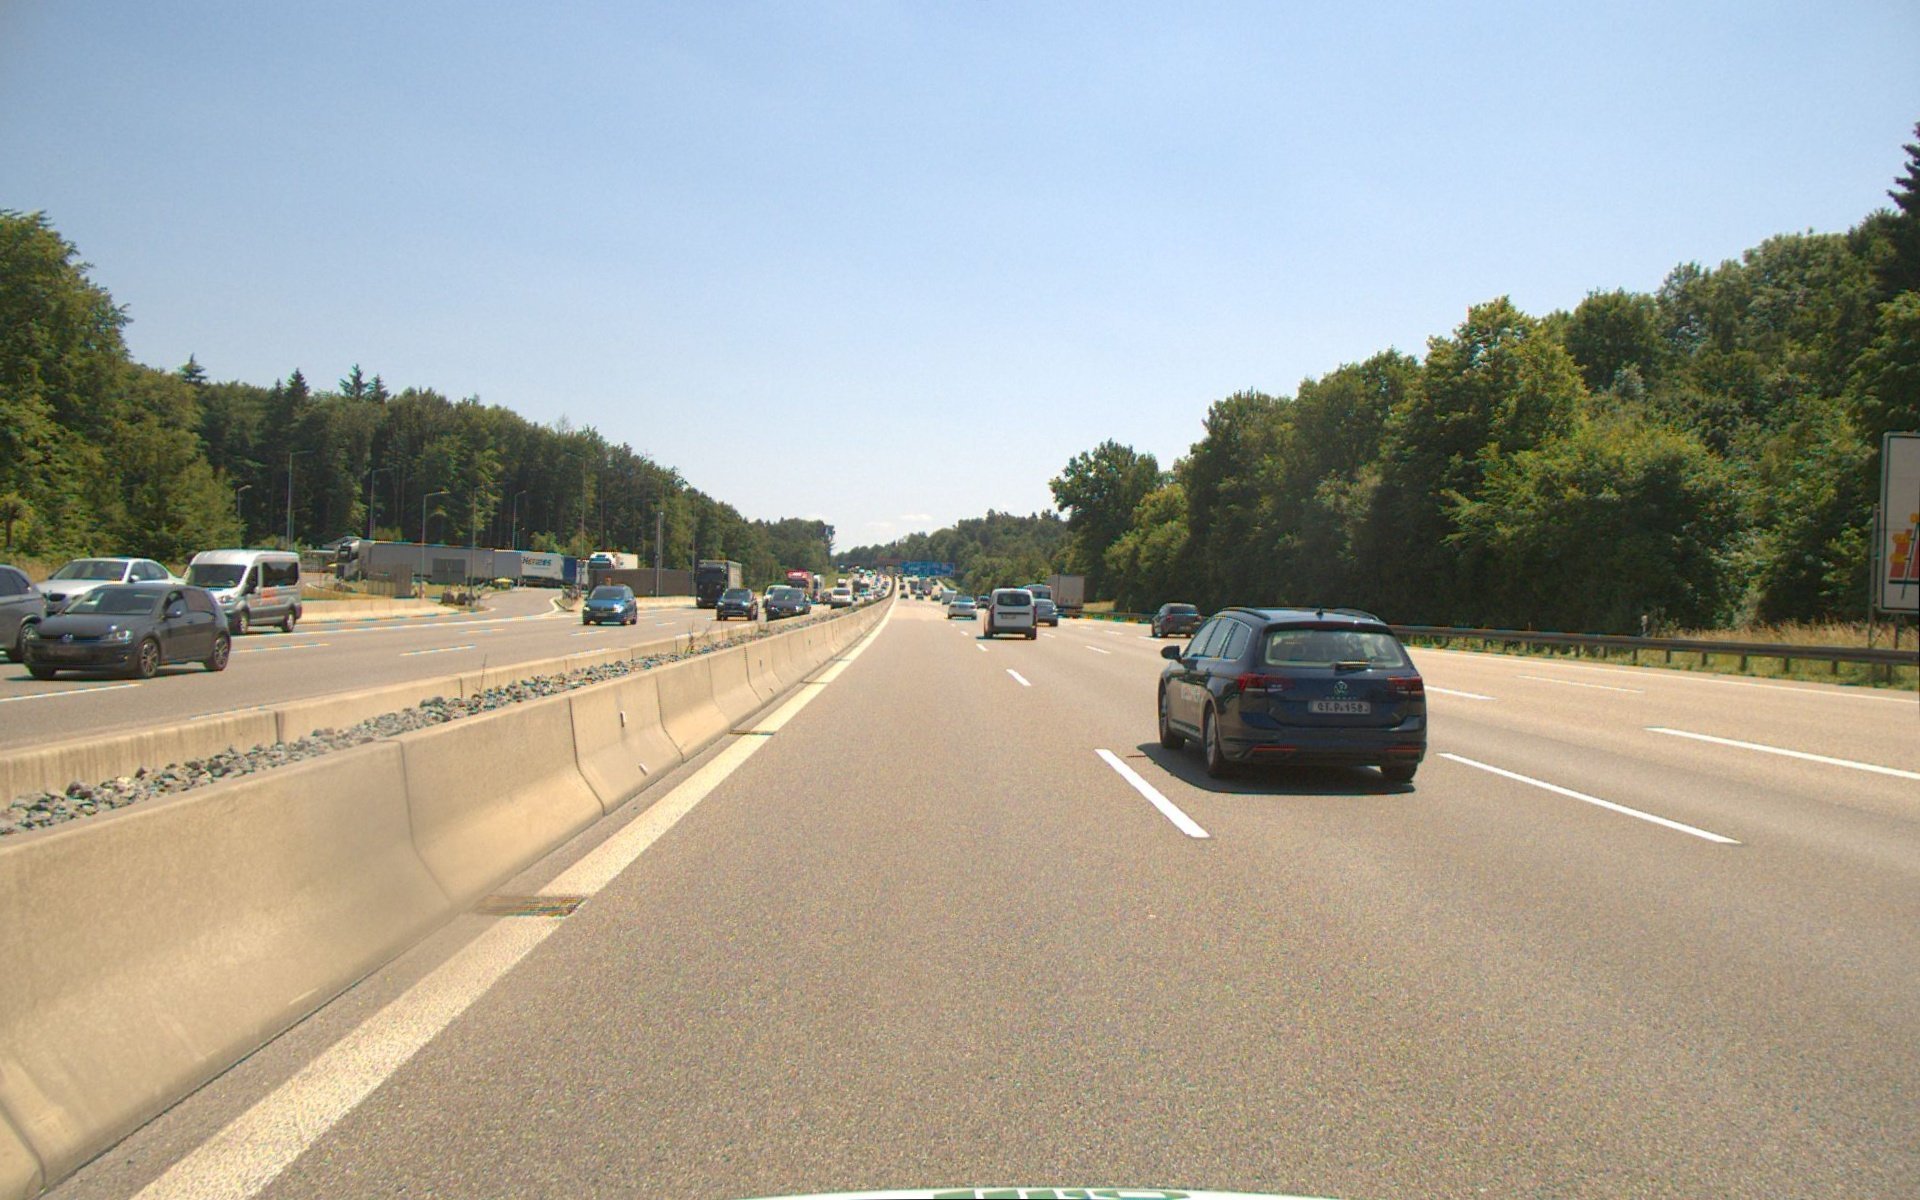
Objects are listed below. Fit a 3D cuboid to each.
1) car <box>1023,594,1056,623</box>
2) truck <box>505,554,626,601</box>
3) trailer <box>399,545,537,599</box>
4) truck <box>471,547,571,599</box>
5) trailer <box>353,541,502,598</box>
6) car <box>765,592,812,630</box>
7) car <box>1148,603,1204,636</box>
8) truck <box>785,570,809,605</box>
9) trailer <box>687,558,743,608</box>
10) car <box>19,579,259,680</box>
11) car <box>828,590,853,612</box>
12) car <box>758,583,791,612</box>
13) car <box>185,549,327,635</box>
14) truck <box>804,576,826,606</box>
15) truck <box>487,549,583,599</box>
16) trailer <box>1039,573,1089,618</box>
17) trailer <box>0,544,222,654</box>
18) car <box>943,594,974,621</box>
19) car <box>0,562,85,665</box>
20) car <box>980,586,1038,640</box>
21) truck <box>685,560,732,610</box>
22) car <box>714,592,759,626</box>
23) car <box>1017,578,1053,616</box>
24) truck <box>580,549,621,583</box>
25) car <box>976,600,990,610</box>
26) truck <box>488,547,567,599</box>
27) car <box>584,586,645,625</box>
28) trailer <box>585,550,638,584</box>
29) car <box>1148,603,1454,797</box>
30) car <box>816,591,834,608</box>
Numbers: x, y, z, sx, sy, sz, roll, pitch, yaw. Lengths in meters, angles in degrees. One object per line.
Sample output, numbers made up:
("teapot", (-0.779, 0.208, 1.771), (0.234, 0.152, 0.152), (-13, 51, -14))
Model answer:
("car", (4.308, 0.468, 90.061), (1.473, 1.527, 3.648), (1, 0, -2))
("truck", (-52.737, -2.883, 221.932), (3.390, 5.711, 16.606), (2, 0, 42))
("trailer", (-52.214, -2.937, 176.163), (3.167, 5.161, 14.477), (2, 0, 42))
("truck", (-52.126, -3.180, 196.763), (3.171, 5.711, 11.467), (2, 0, 42))
("trailer", (-52.879, -2.975, 164.879), (3.075, 5.161, 14.477), (2, 0, 42))
("car", (-8.016, 0.473, 77.724), (1.812, 1.707, 5.043), (1, 0, -2))
("car", (8.977, 0.791, 69.132), (1.637, 1.296, 4.288), (1, 0, -2))
("truck", (-19.978, -1.525, 202.763), (2.477, 4.120, 6.469), (2, 0, -2))
("trailer", (-21.487, -1.437, 146.126), (3.275, 4.071, 14.272), (1, 0, -2))
("car", (-13.195, 0.434, 26.914), (1.694, 1.489, 4.575), (1, 0, -2))
("car", (-10.520, 0.076, 145.561), (1.953, 1.828, 5.128), (1, 0, -2))
("car", (-13.529, -0.158, 121.007), (1.953, 2.049, 5.128), (1, 0, -2))
("car", (-21.561, -0.238, 50.989), (1.909, 2.455, 6.342), (1, 0, -3))
("truck", (-20.103, -1.246, 229.769), (2.680, 4.102, 6.778), (1, 0, -2))
("truck", (-51.927, -3.164, 202.283), (3.171, 5.711, 11.467), (2, 0, 42))
("trailer", (10.148, -0.575, 163.120), (3.222, 3.998, 13.884), (4, 1, -3))
("trailer", (-17.761, -0.026, 34.808), (1.817, 2.086, 6.150), (1, 0, -2))
("car", (-0.142, 0.490, 106.591), (1.806, 1.657, 4.551), (1, 0, -2))
("car", (-17.606, 0.223, 28.888), (1.777, 1.789, 5.581), (1, 0, -2))
("car", (1.780, 0.470, 61.035), (1.822, 1.857, 4.610), (2, 0, -2))
("truck", (-21.197, -1.245, 139.768), (3.222, 3.999, 5.537), (1, 0, -2))
("car", (-11.861, 0.448, 87.980), (1.791, 1.728, 5.002), (1, 0, -2))
("car", (5.599, -0.246, 123.625), (2.101, 2.698, 5.707), (3, 1, -2))
("truck", (-35.758, -3.369, 164.590), (2.868, 3.178, 6.199), (2, 0, -2))
("car", (3.297, 0.661, 235.534), (1.799, 1.361, 3.641), (1, 0, -2))
("truck", (-50.533, -3.140, 193.482), (3.171, 5.711, 8.437), (2, 0, 42))
("car", (-14.722, 0.211, 70.704), (1.694, 1.598, 4.671), (1, 0, -2))
("trailer", (-36.039, -3.339, 171.486), (2.912, 3.178, 14.603), (2, 0, -2))
("car", (2.961, 0.792, 15.451), (1.694, 1.472, 4.959), (1, 0, -2))
("car", (-17.110, -0.072, 209.235), (1.953, 2.049, 5.128), (1, 0, -2))
